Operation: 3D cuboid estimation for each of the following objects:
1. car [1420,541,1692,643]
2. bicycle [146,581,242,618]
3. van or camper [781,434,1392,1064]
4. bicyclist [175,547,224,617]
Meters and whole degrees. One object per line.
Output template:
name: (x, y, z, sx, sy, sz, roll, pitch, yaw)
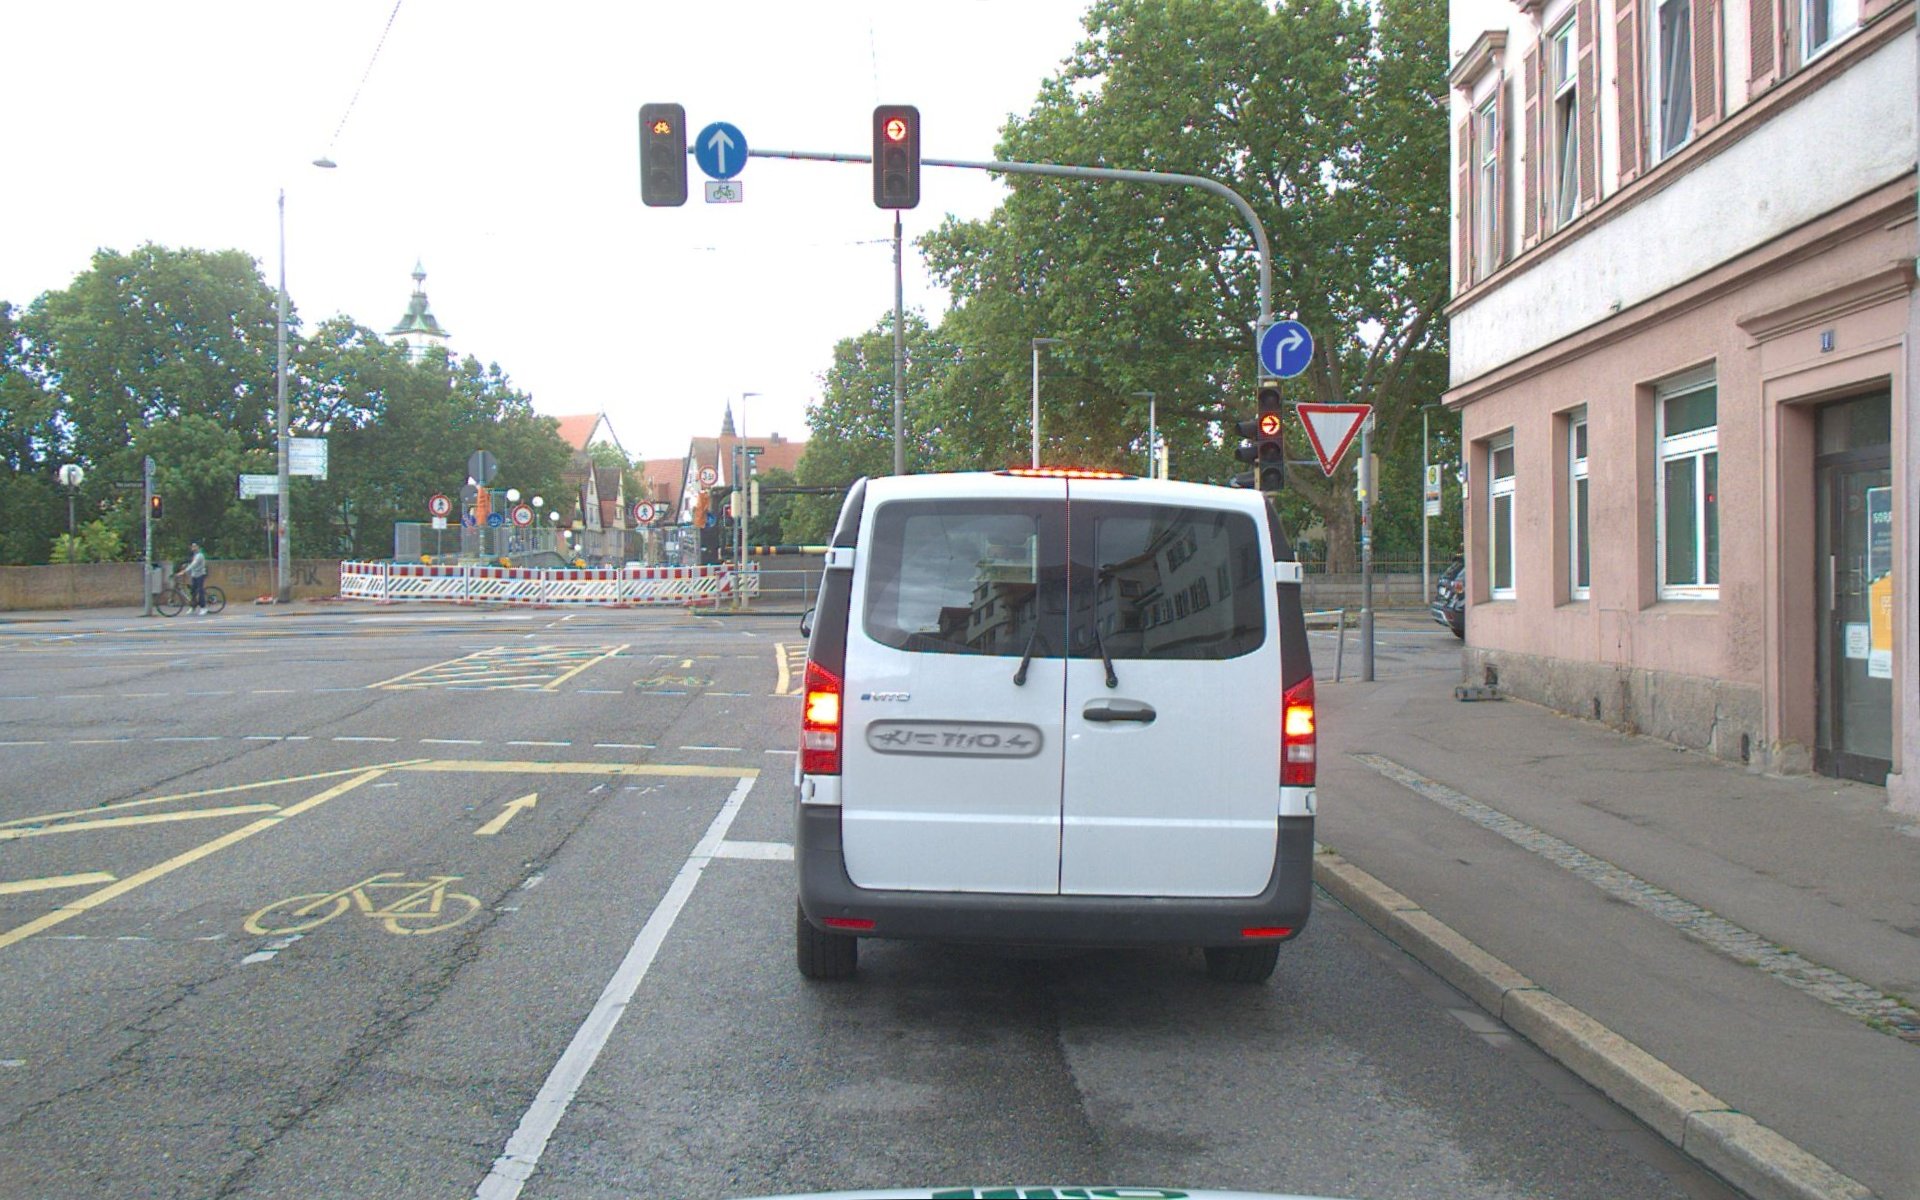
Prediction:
car: (9.948, -0.159, 27.862, 3.983, 1.600, 1.830, -1, 2, 7)
bicycle: (-19.708, -0.026, 42.585, 2.120, 0.907, 0.749, -1, 2, -42)
van or camper: (0.263, 0.401, 7.417, 1.899, 1.958, 4.438, 1, 2, -4)
bicyclist: (-19.615, -0.478, 42.646, 0.996, 1.774, 0.743, -1, 1, -42)
